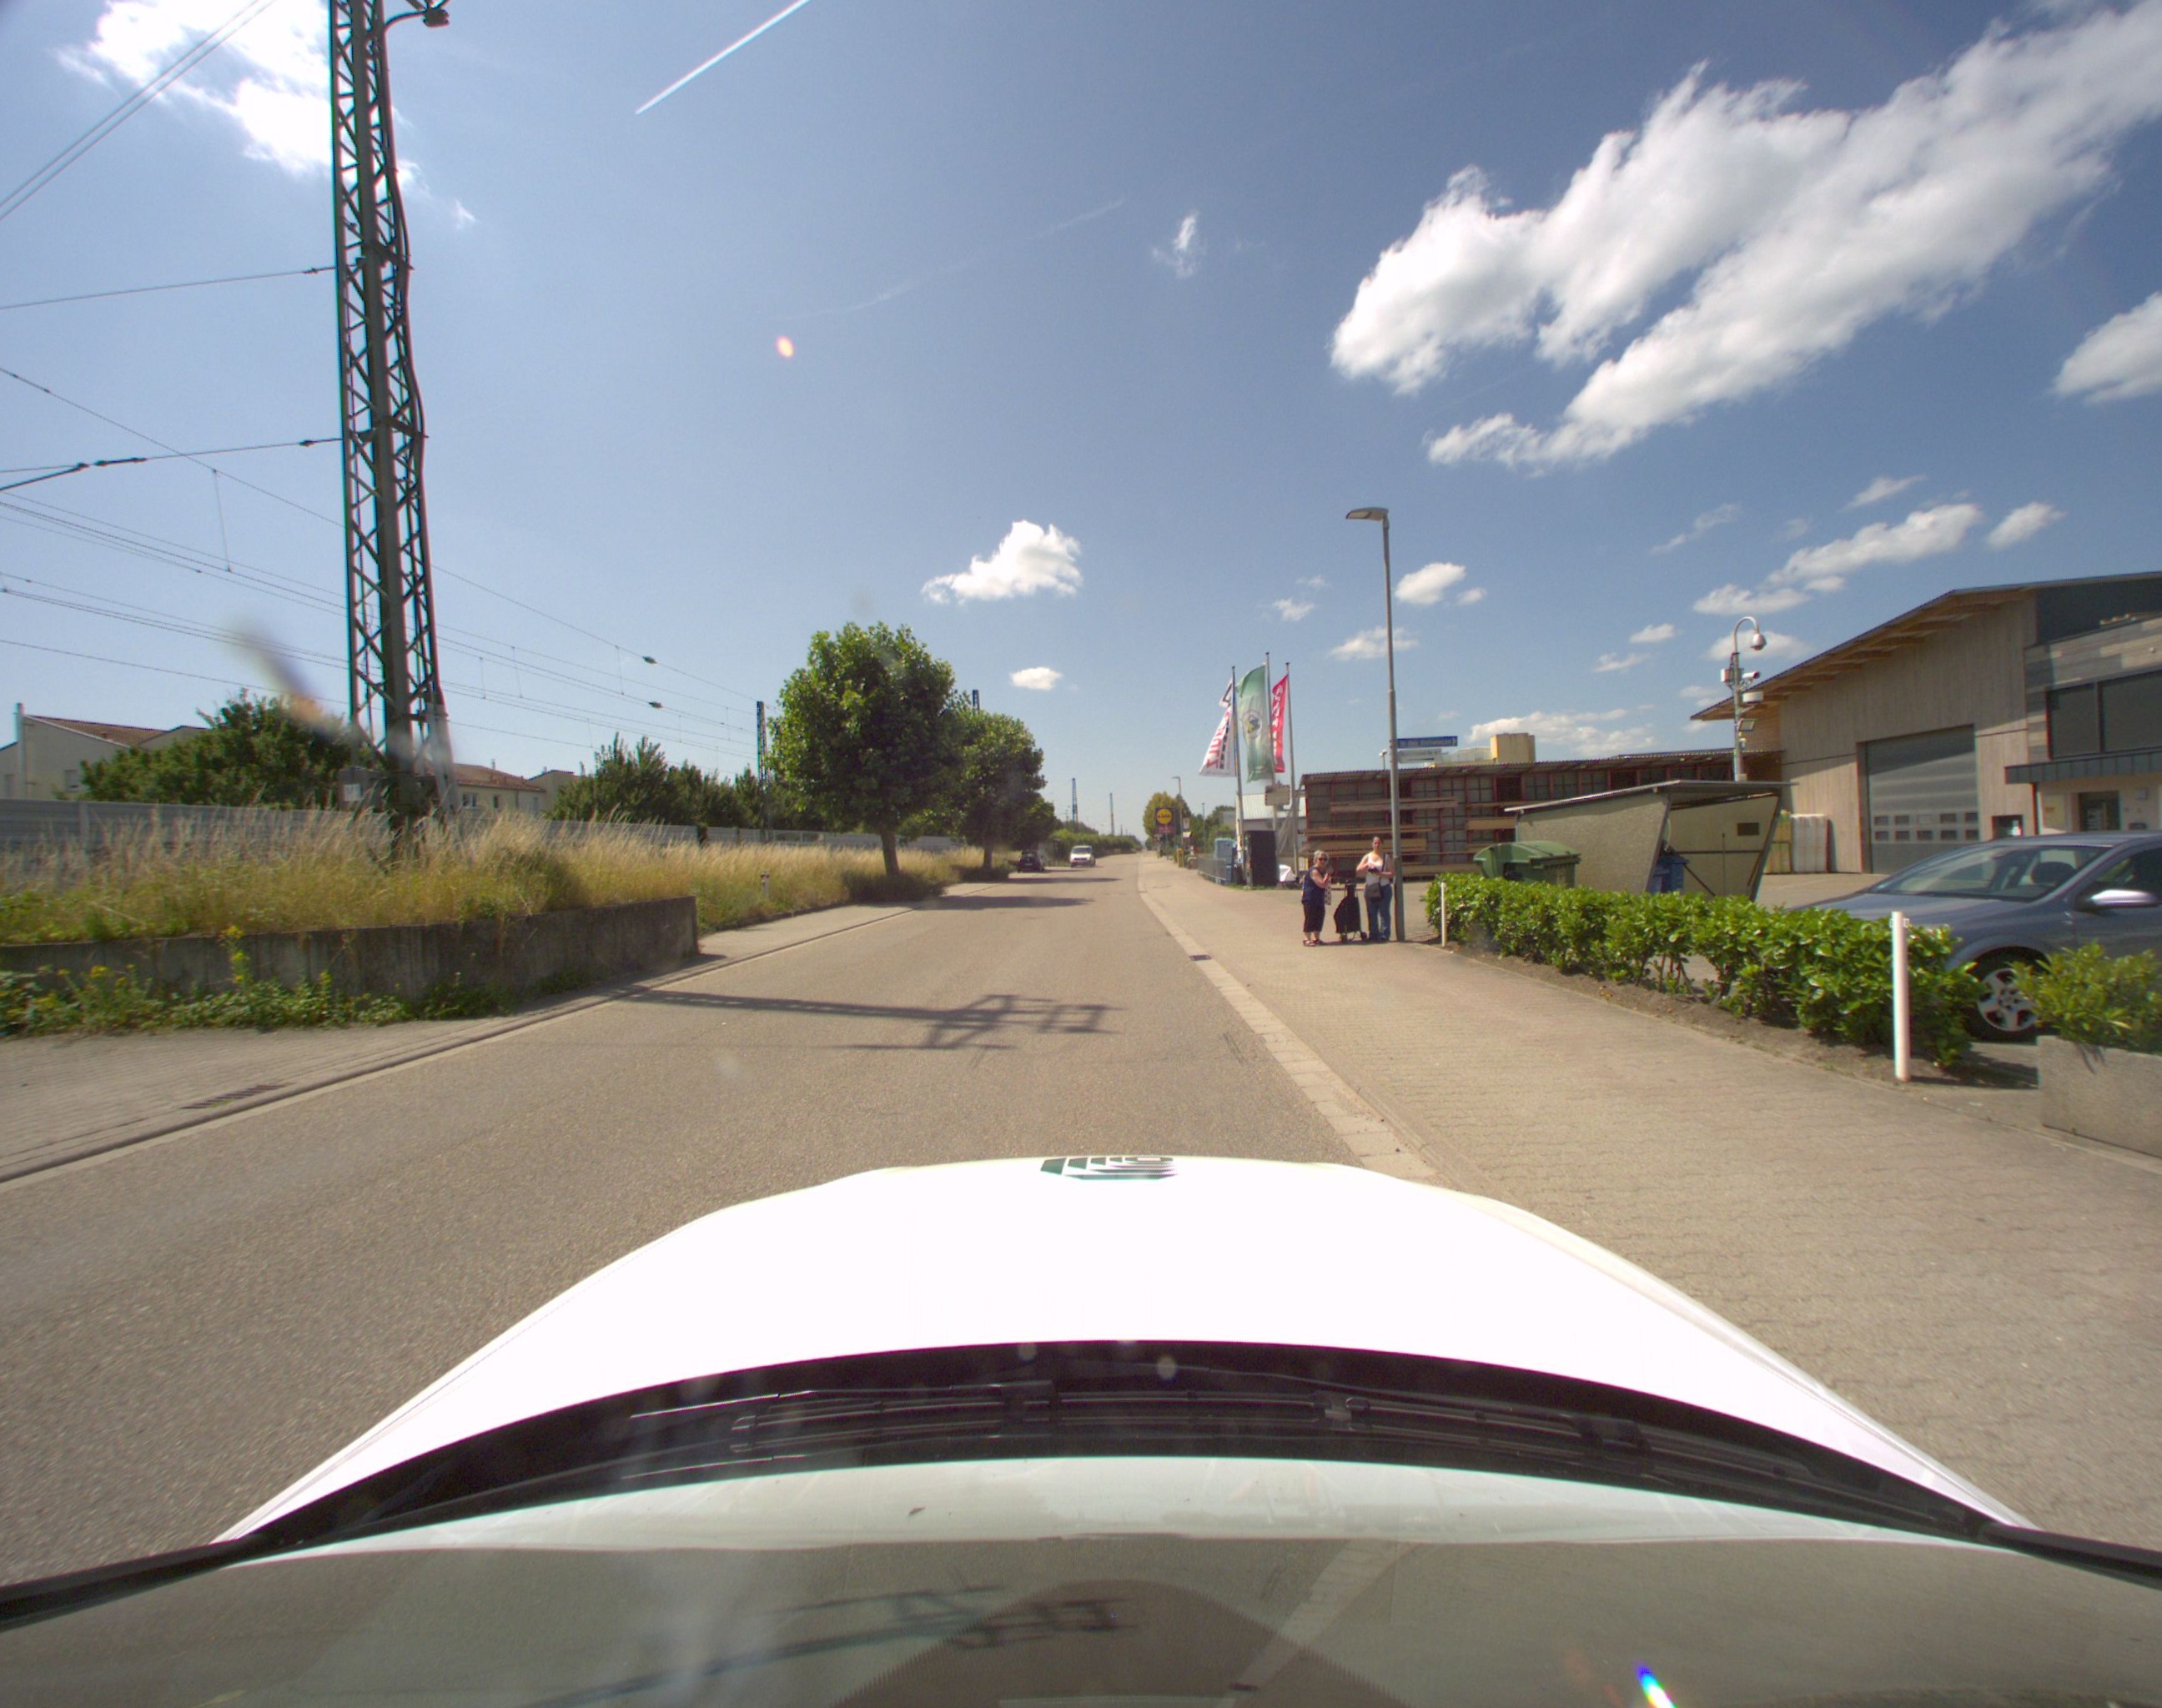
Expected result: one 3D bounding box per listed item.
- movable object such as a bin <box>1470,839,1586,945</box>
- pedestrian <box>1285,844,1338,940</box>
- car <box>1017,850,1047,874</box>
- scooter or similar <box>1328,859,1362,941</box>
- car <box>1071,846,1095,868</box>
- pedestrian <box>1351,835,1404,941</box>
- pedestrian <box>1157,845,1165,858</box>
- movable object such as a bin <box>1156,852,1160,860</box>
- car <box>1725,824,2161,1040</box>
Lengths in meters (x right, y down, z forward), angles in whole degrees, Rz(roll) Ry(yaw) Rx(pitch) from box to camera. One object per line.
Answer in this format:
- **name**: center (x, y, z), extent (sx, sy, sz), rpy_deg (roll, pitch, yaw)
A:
- **movable object such as a bin**: center (6.601, 0.517, 12.034), extent (1.273, 1.458, 1.037), rpy_deg (-1, 0, -36)
- **pedestrian**: center (3.495, 0.575, 12.392), extent (0.563, 1.405, 0.584), rpy_deg (-3, -2, 1)
- **car**: center (-3.484, 0.555, 58.355), extent (1.735, 1.596, 3.581), rpy_deg (-2, 0, 2)
- **scooter or similar**: center (3.986, 0.688, 12.316), extent (0.332, 1.198, 0.398), rpy_deg (-3, -2, 2)
- **car**: center (0.215, 0.239, 71.177), extent (1.831, 1.858, 4.487), rpy_deg (-2, 0, 3)
- **pedestrian**: center (4.459, 0.512, 12.278), extent (0.533, 1.540, 0.511), rpy_deg (-3, -2, 1)
- **pedestrian**: center (10.004, -0.340, 101.832), extent (0.759, 1.601, 1.210), rpy_deg (-2, 0, 1)
- **movable object such as a bin**: center (9.590, 0.226, 101.459), extent (0.373, 1.030, 0.499), rpy_deg (-3, -1, 1)
- **car**: center (7.799, 0.510, 6.507), extent (3.830, 1.455, 1.819), rpy_deg (-2, 0, 2)
